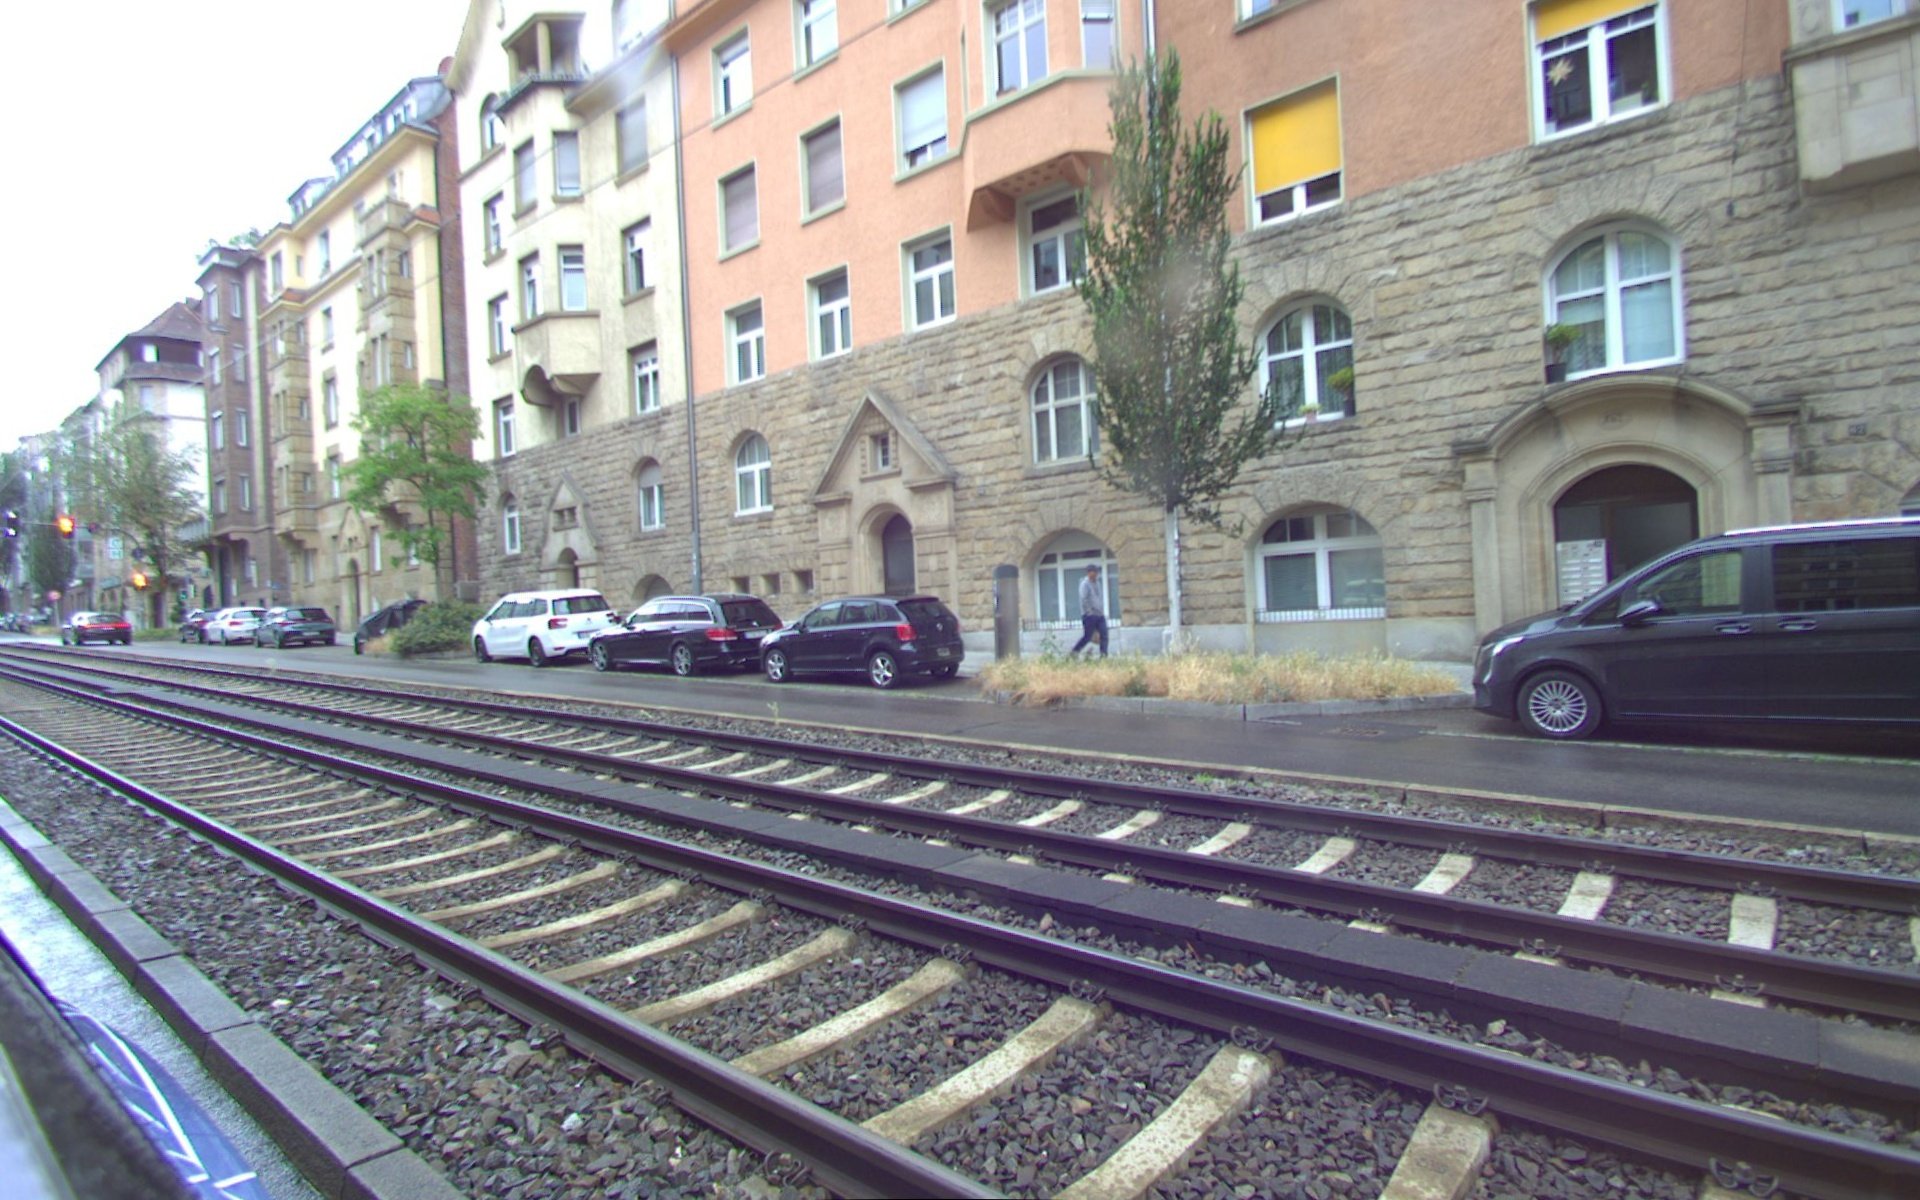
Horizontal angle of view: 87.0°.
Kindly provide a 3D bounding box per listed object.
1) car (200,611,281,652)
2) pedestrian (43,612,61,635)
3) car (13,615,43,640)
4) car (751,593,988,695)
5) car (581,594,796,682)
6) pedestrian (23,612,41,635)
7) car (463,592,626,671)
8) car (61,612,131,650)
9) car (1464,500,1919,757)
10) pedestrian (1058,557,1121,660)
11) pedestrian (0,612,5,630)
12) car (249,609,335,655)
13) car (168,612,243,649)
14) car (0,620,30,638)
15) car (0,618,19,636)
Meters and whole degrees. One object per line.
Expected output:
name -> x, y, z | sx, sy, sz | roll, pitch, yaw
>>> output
car -> -28.282, 1.212, 39.757 | 4.030, 1.452, 1.748 | -1, 1, 42
pedestrian -> -80.925, 2.062, 90.179 | 1.163, 1.972, 1.042 | -1, 0, 43
car -> -69.039, 1.991, 74.968 | 1.561, 1.691, 3.794 | -2, 2, -43
car -> -1.553, 0.670, 16.911 | 3.638, 1.508, 1.912 | -1, 0, 38
car -> -5.435, 0.698, 19.932 | 4.599, 1.506, 1.824 | -1, 0, 41
pedestrian -> -81.766, 2.072, 89.193 | 1.163, 1.972, 1.042 | -1, 0, 43
car -> -9.742, 0.703, 23.605 | 4.144, 1.668, 1.843 | -1, 0, 41
car -> -38.262, 1.355, 44.782 | 4.964, 1.535, 1.783 | -1, 0, 43
car -> 7.349, 0.217, 8.976 | 4.823, 1.956, 1.973 | -1, 0, 41
pedestrian -> 2.133, 0.138, 16.712 | 0.765, 1.654, 0.692 | -1, 0, 41
pedestrian -> -103.117, 2.263, 108.160 | 1.379, 1.972, 1.362 | -1, 0, 43
car -> -23.681, 1.097, 35.854 | 3.845, 1.452, 1.656 | -1, 1, 43
car -> -32.141, 1.266, 43.080 | 3.843, 1.452, 1.748 | -1, 0, 41
car -> -74.287, 2.280, 79.333 | 3.843, 1.321, 1.563 | -1, 0, 41
car -> -80.914, 2.288, 85.407 | 3.843, 1.527, 1.748 | -1, 0, 41
